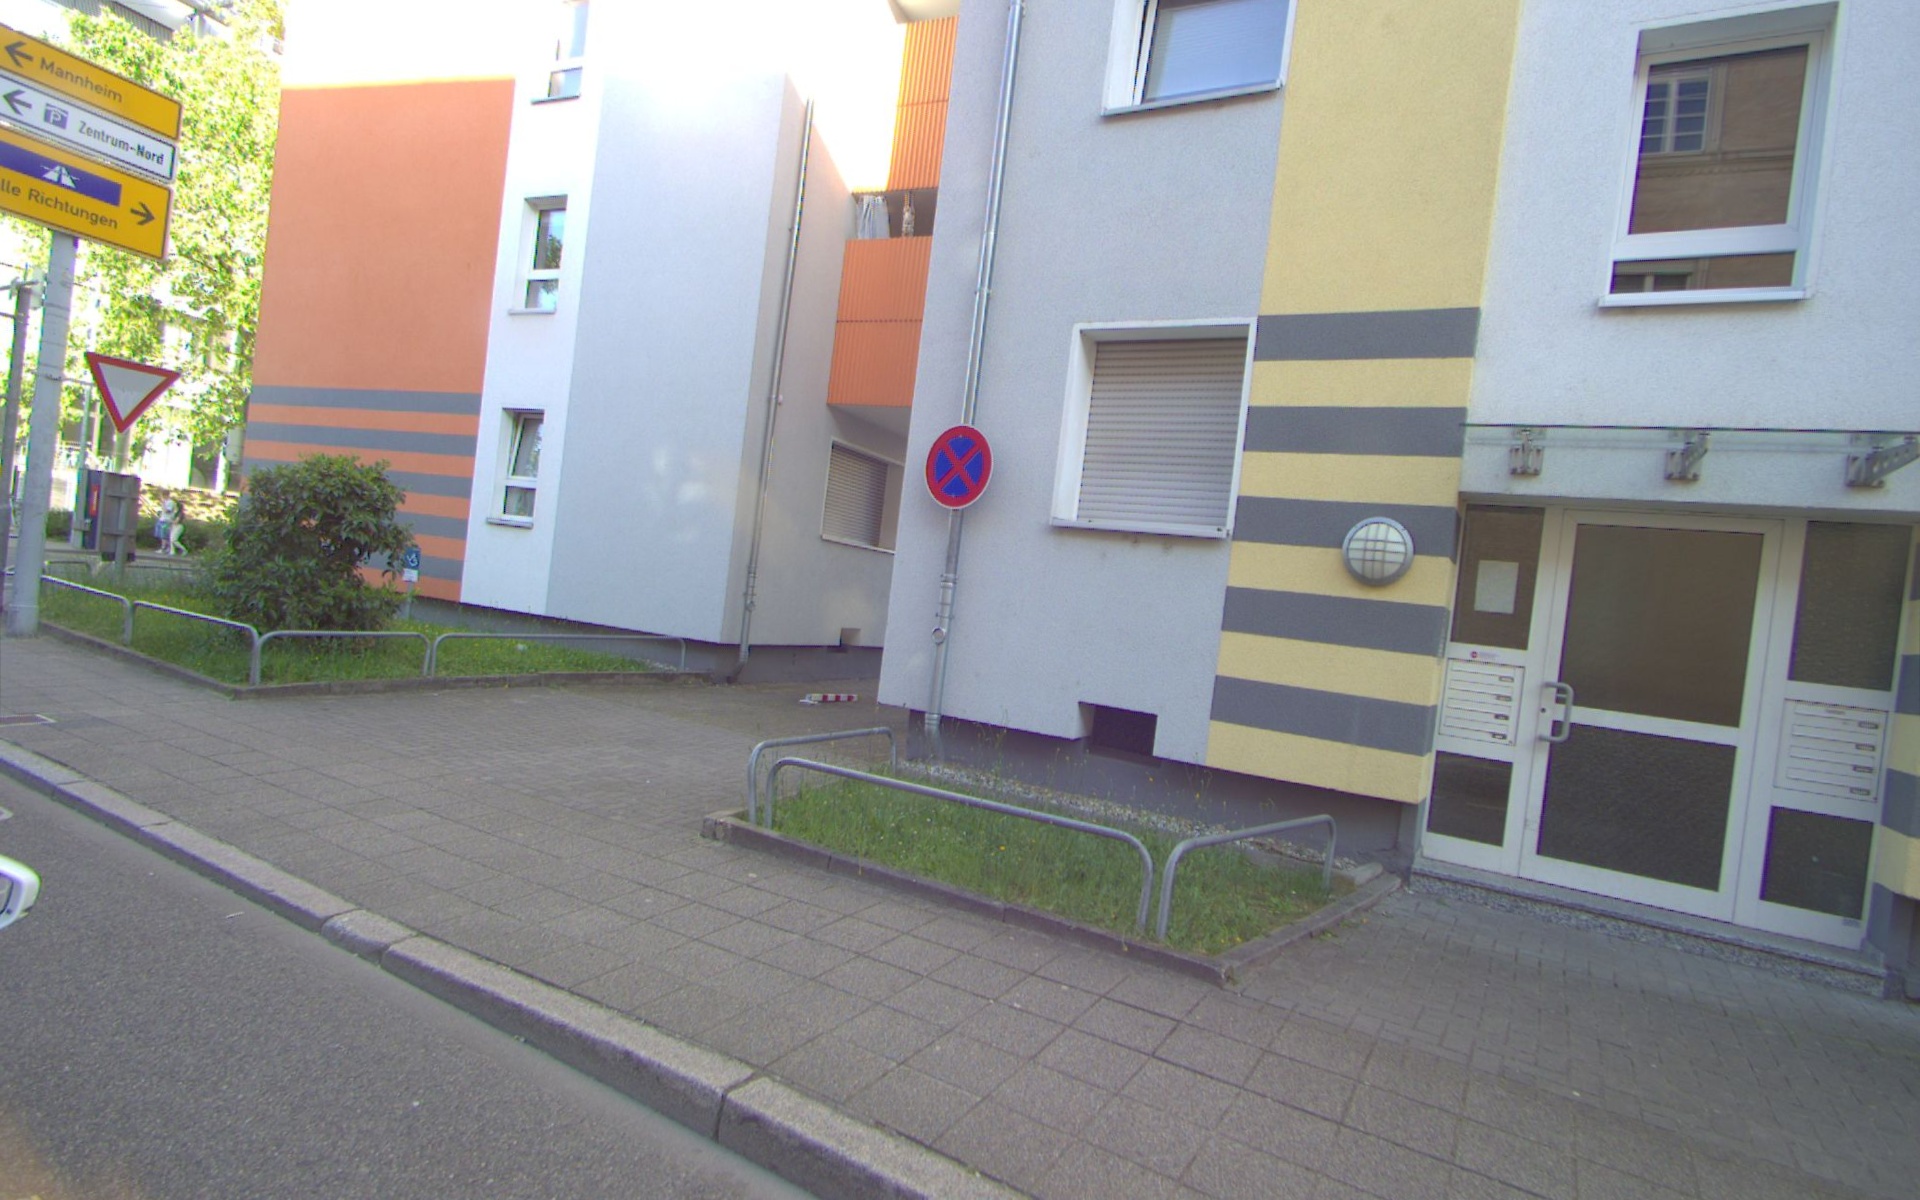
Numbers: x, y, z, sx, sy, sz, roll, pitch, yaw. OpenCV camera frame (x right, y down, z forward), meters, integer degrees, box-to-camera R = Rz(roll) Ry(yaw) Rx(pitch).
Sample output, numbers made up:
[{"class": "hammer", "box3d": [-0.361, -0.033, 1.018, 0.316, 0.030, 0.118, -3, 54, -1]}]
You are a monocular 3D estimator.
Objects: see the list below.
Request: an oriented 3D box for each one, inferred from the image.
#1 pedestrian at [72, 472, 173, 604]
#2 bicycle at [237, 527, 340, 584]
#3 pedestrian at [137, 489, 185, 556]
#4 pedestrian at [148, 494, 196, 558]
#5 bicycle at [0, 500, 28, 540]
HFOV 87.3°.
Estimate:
[{"class": "pedestrian", "box3d": [-12.536, -0.908, 15.077, 0.689, 1.831, 0.719, 7, -1, -5]}, {"class": "bicycle", "box3d": [-16.620, -1.089, 24.954, 0.583, 1.166, 1.963, 7, 0, 37]}, {"class": "pedestrian", "box3d": [-23.425, -2.261, 29.504, 0.637, 1.816, 0.766, 6, -1, 34]}, {"class": "pedestrian", "box3d": [-22.827, -2.141, 29.150, 0.637, 1.739, 0.766, 6, -1, 34]}, {"class": "bicycle", "box3d": [-26.380, -2.234, 27.383, 1.409, 1.021, 0.379, 7, 1, -11]}]
